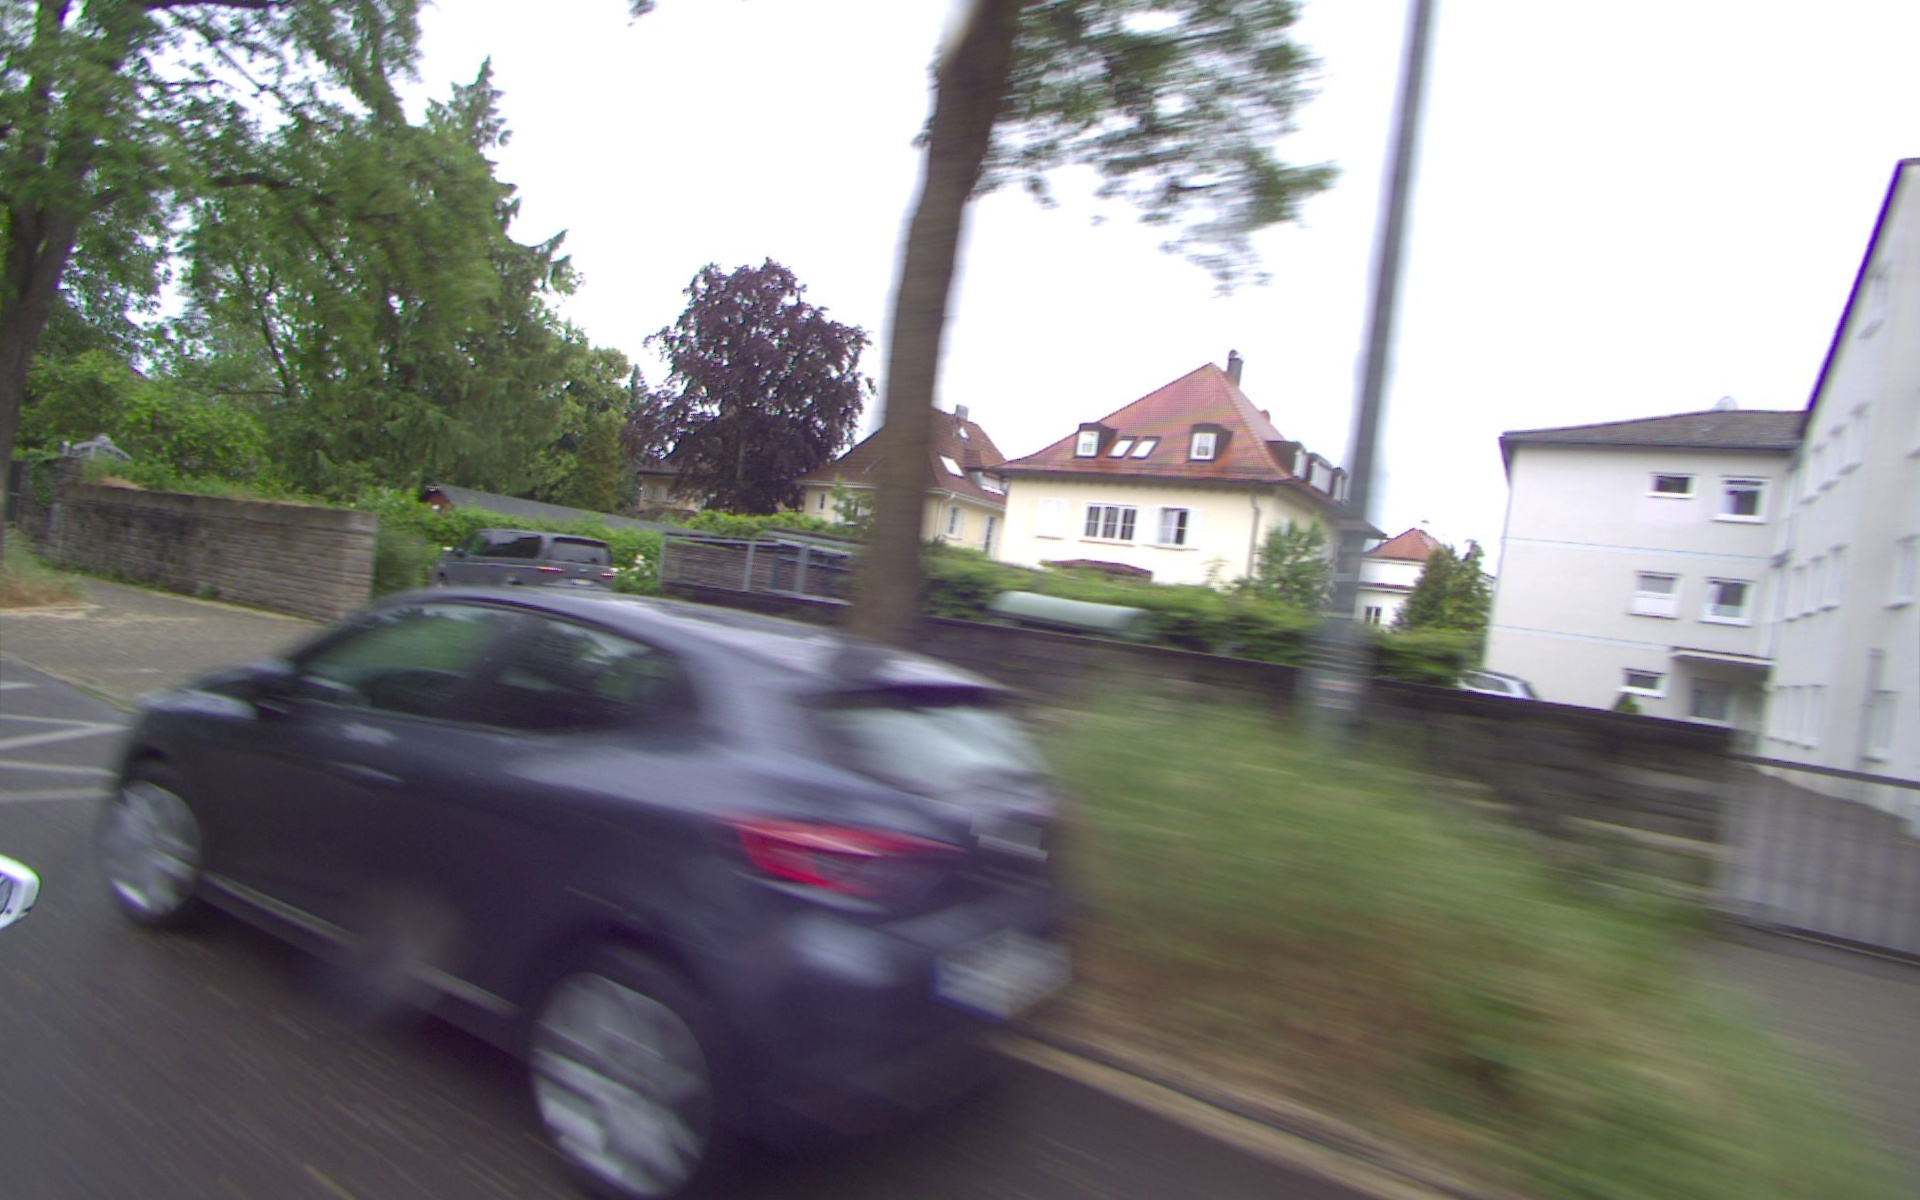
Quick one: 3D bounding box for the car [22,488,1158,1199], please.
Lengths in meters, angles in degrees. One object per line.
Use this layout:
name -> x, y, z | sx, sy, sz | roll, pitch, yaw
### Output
car -> -1.491, 0.620, 3.781 | 3.895, 1.496, 1.745 | 8, -1, 29

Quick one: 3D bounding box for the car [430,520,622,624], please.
car -> -9.931, -0.658, 22.956 | 4.185, 1.832, 1.832 | 7, 0, 32

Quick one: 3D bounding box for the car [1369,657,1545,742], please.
car -> 13.494, 2.631, 27.371 | 3.936, 1.604, 1.757 | 8, 3, 35
